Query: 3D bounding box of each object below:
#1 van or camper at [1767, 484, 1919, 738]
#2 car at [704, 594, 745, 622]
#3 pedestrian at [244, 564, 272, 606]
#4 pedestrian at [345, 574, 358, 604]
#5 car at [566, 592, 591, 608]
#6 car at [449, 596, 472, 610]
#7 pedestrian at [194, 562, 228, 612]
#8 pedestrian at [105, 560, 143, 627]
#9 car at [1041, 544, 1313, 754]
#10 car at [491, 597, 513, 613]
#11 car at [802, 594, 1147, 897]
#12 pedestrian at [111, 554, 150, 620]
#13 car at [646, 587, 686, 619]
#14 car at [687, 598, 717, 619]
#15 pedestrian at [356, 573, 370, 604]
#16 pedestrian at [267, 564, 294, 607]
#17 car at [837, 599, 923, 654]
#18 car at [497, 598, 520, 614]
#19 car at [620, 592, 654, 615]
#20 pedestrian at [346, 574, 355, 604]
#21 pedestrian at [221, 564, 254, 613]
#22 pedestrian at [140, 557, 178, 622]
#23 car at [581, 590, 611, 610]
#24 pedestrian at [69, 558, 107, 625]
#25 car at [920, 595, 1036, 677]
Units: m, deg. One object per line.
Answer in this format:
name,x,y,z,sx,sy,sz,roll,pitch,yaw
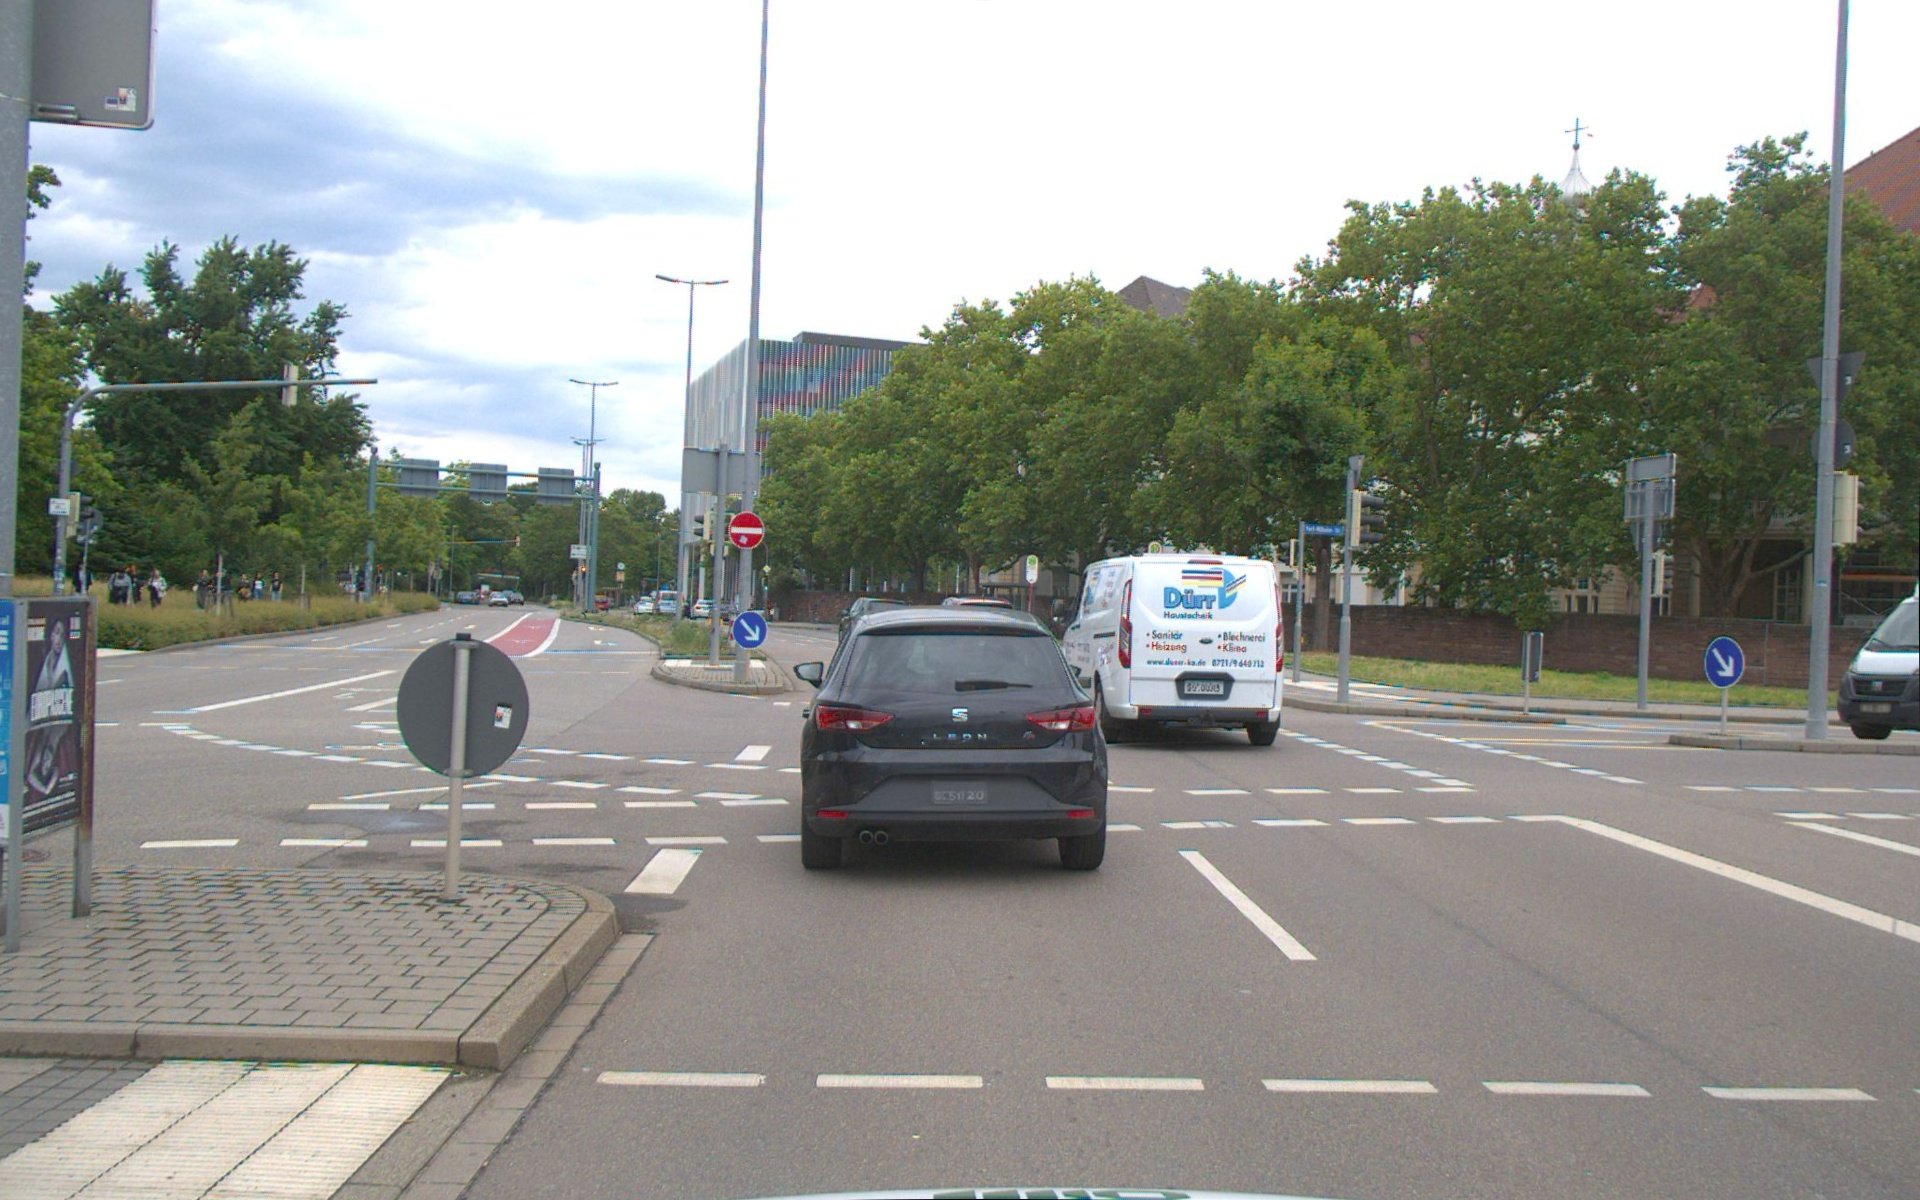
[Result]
van or camper,15.787,0.270,24.314,7.016,3.390,2.863,2,-1,-17
car,-15.132,0.512,106.124,1.888,1.713,3.979,2,0,-18
pedestrian,-30.801,-0.667,72.592,0.902,1.810,1.061,2,0,-13
pedestrian,-42.602,-0.780,115.819,0.655,2.049,0.595,2,0,-8
car,-33.508,0.033,145.252,1.687,1.287,3.319,3,0,-21
car,-55.601,0.296,184.117,1.856,1.440,3.823,2,0,-27
pedestrian,-28.158,-0.483,62.217,0.902,1.810,1.061,2,0,-13
pedestrian,-24.310,-0.193,48.088,0.700,1.902,0.756,2,0,-7
car,2.319,0.483,19.167,1.955,2.054,5.025,2,0,-6
car,-44.745,0.502,161.565,1.662,1.440,3.622,2,0,-20
car,-0.106,0.769,10.418,1.712,1.490,3.994,-1,-1,-6
pedestrian,-26.355,-0.424,52.561,0.741,2.049,1.045,2,0,-8
car,-19.711,0.199,110.837,1.964,2.049,3.977,2,0,-20
car,-18.308,0.584,117.076,1.503,1.389,2.951,2,0,-21
pedestrian,-40.426,-0.762,112.017,0.708,2.049,0.781,2,0,-7
pedestrian,-29.911,-0.636,72.819,0.902,1.810,1.061,2,0,-13
car,-2.622,0.809,52.990,1.960,1.593,4.190,2,0,-14
car,-54.179,0.743,198.386,1.967,1.811,3.970,2,0,-24
car,-24.890,0.266,127.367,1.964,1.668,3.976,2,0,-20
pedestrian,-44.931,-0.807,121.992,0.462,2.194,0.474,2,0,-8
pedestrian,-27.254,-0.433,62.429,0.902,1.810,1.061,2,0,-13
pedestrian,-25.589,-0.337,52.845,0.741,2.049,1.045,2,0,-8
car,-33.887,-0.024,154.062,1.967,1.711,3.981,2,0,-23
pedestrian,-25.273,-0.249,47.934,0.700,1.902,0.756,2,0,-8
car,0.337,0.740,36.239,1.823,1.628,4.196,2,0,-9
